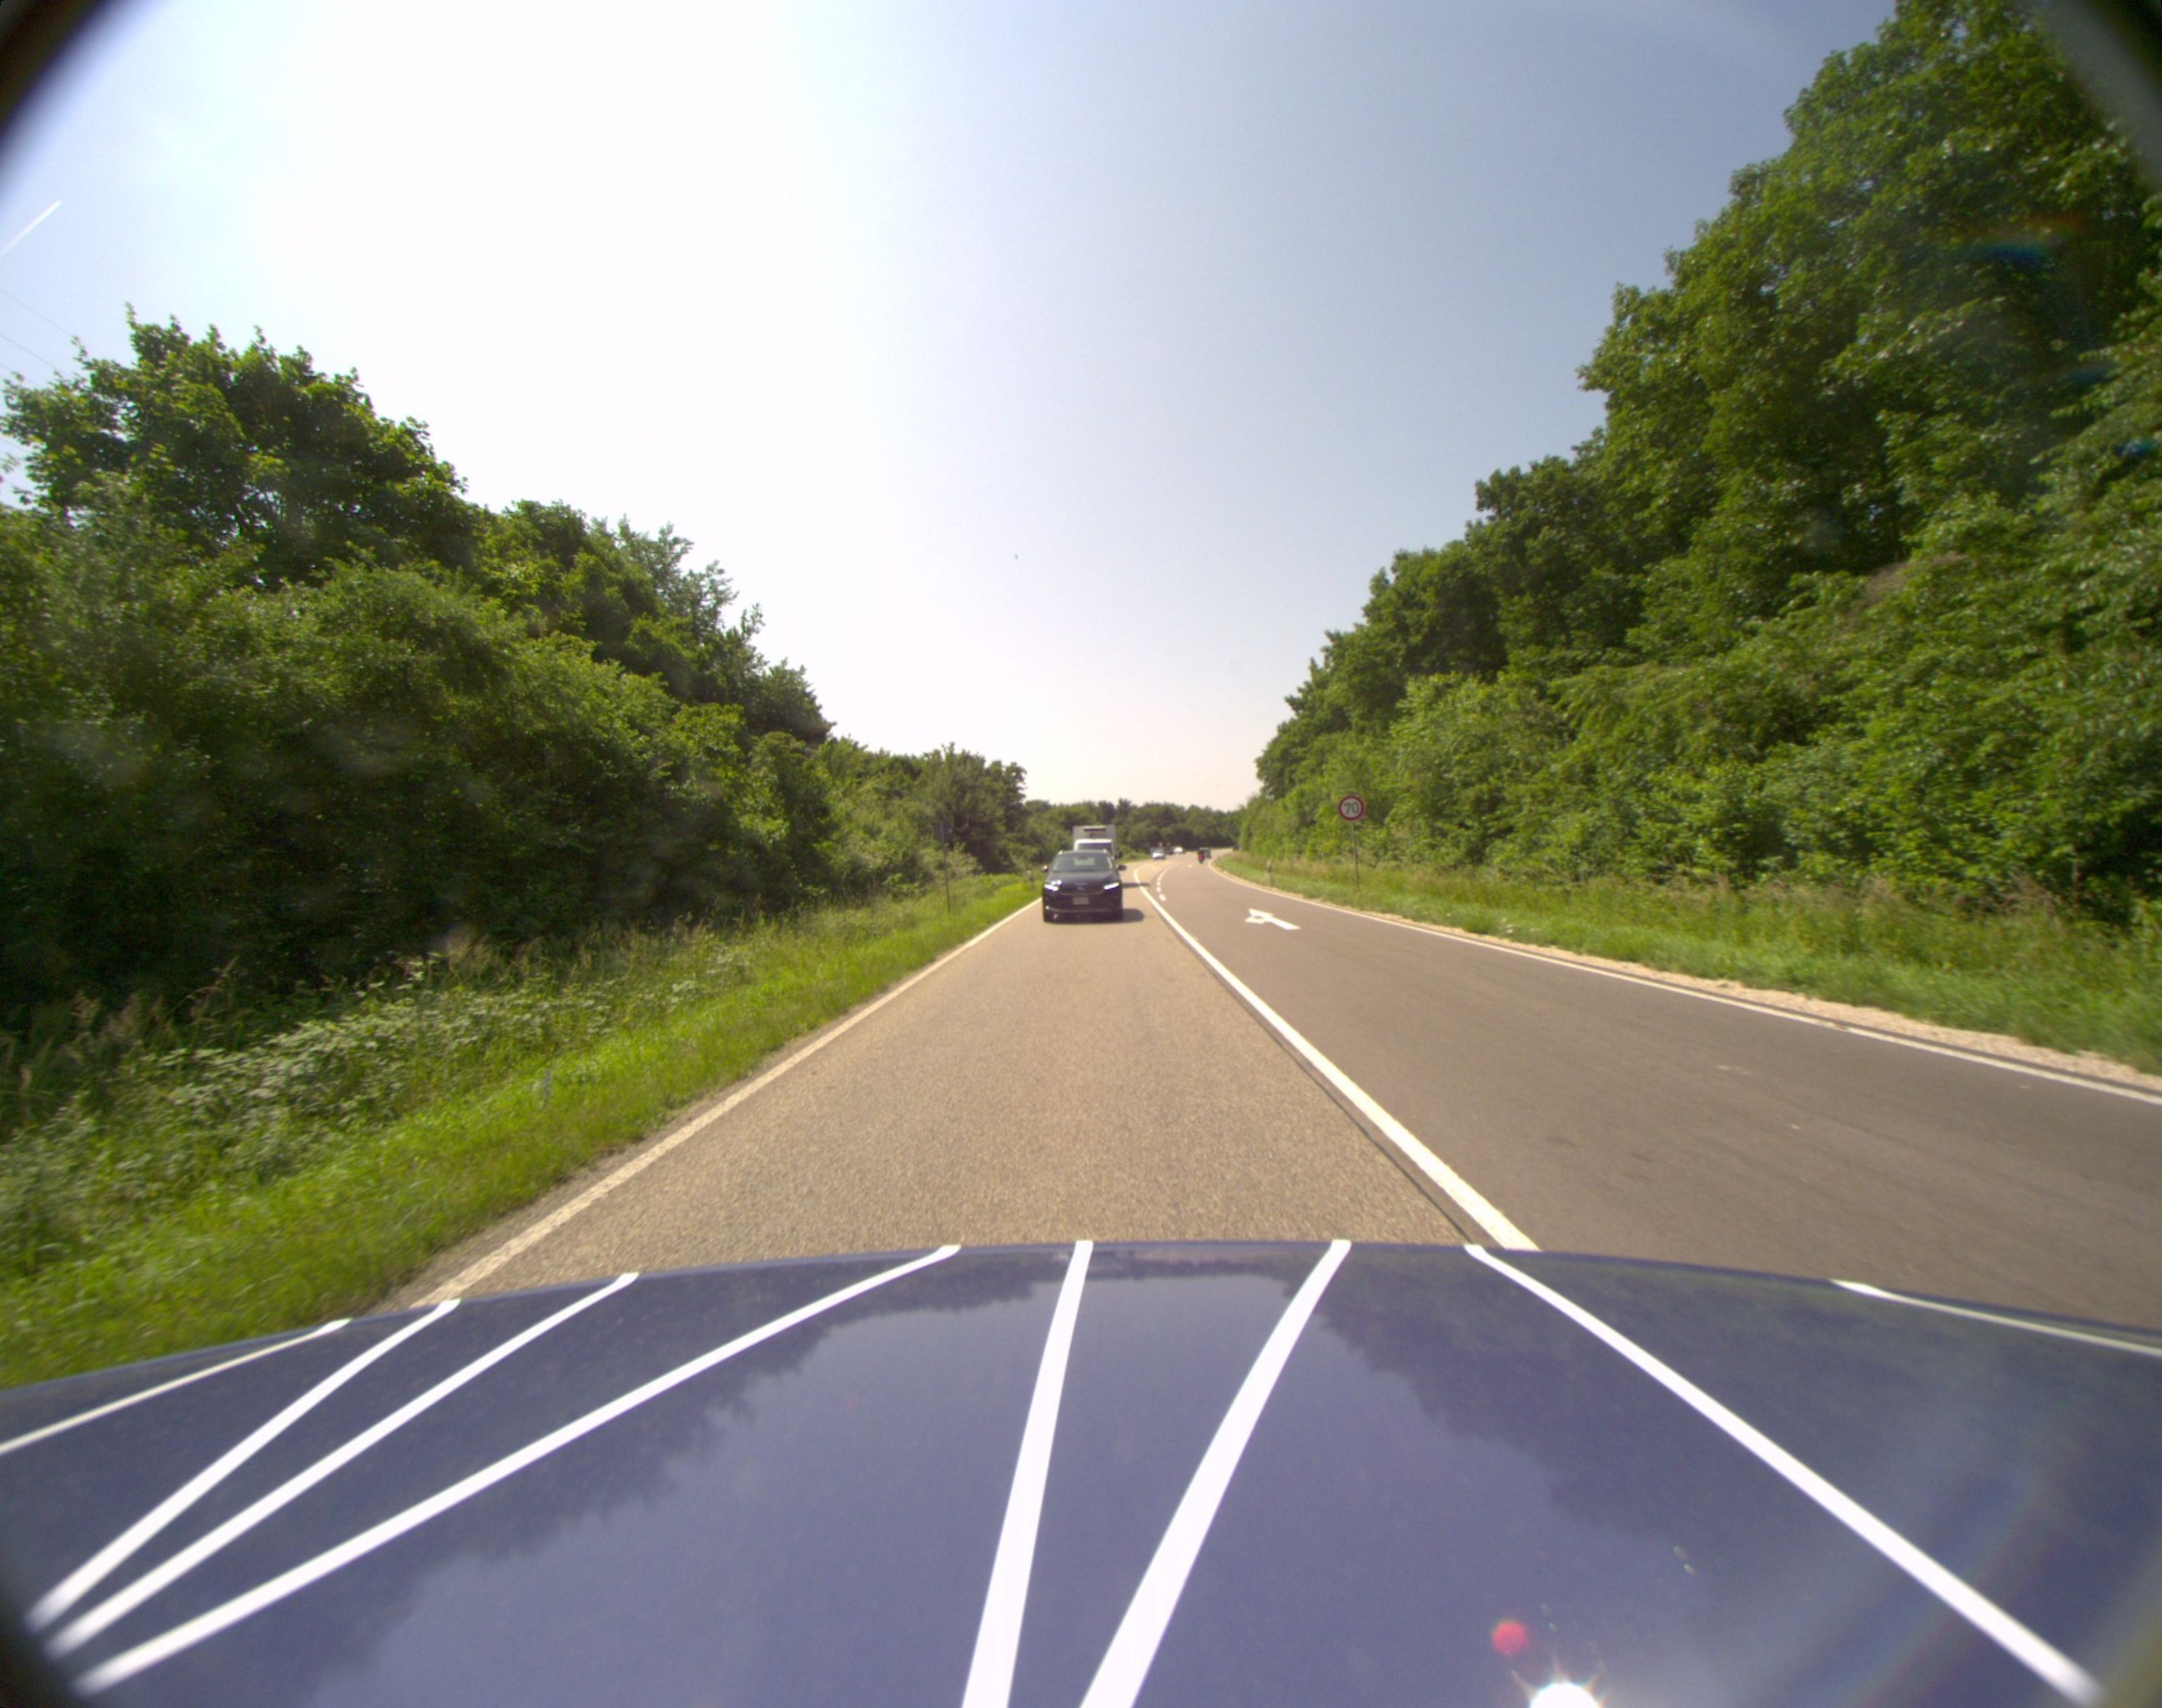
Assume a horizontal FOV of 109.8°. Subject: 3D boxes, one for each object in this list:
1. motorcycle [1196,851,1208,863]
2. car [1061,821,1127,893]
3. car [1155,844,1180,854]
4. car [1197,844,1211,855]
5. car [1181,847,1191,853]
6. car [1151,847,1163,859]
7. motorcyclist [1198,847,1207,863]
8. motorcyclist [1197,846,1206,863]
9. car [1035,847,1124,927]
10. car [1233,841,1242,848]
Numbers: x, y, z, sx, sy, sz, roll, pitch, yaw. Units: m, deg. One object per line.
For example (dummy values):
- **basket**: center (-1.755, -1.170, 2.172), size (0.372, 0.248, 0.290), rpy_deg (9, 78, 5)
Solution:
- **motorcycle**: center (13.390, 0.343, 84.446), size (0.949, 1.243, 2.682), rpy_deg (-2, 0, 2)
- **car**: center (0.782, 0.034, 36.821), size (2.591, 3.047, 6.882), rpy_deg (-2, 2, 5)
- **car**: center (19.355, -1.096, 169.592), size (5.227, 1.896, 2.012), rpy_deg (-4, 2, -2)
- **car**: center (19.817, -0.740, 122.381), size (1.806, 1.627, 4.213), rpy_deg (-2, 1, 5)
- **car**: center (24.441, -0.919, 176.430), size (1.711, 1.411, 4.101), rpy_deg (-2, 1, 15)
- **car**: center (12.513, -0.208, 125.697), size (1.808, 1.797, 4.001), rpy_deg (-2, 0, 5)
- **motorcyclist**: center (13.347, 0.093, 83.664), size (0.832, 1.742, 0.623), rpy_deg (-2, 1, 1)
- **motorcyclist**: center (13.371, 0.022, 84.341), size (0.822, 1.871, 0.657), rpy_deg (-2, 1, 1)
- **car**: center (0.094, 0.731, 19.770), size (1.924, 1.711, 5.479), rpy_deg (-3, 0, 3)
- **car**: center (38.926, -2.445, 188.661), size (1.805, 1.627, 4.216), rpy_deg (-2, 1, 15)
